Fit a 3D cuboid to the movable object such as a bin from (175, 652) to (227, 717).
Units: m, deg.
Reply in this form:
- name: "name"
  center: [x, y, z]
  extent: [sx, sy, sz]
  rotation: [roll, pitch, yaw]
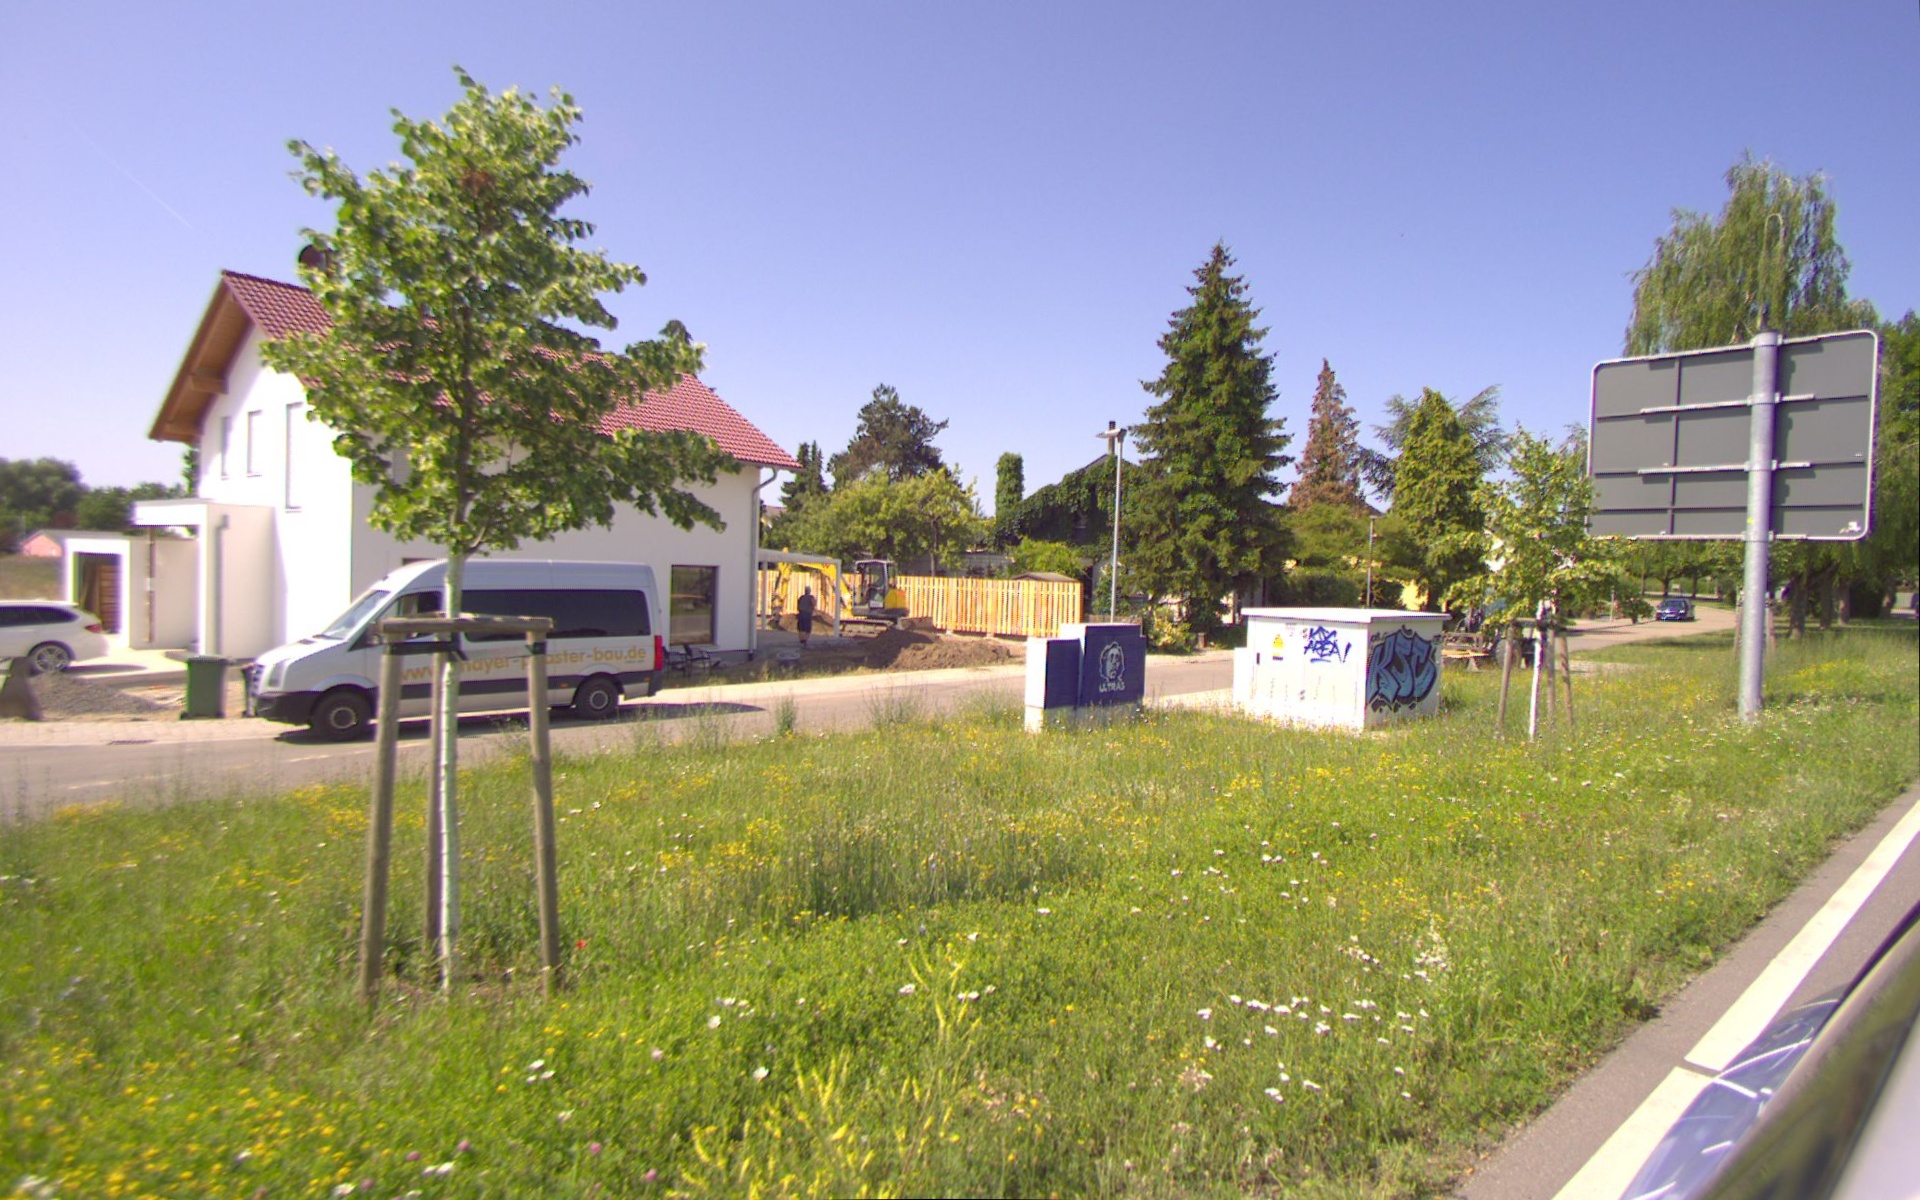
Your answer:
- name: "movable object such as a bin"
  center: [-12.014, 1.323, 16.031]
  extent: [0.626, 0.949, 0.695]
  rotation: [1, 1, -36]

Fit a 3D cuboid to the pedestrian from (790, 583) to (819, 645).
- name: "pedestrian"
  center: [-4.428, 0.389, 28.862]
  extent: [0.701, 1.684, 0.717]
  rotation: [2, 4, -12]

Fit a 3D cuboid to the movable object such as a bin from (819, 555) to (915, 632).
- name: "movable object such as a bin"
  center: [-3.219, -0.246, 35.184]
  extent: [2.839, 2.589, 1.778]
  rotation: [1, 1, 17]

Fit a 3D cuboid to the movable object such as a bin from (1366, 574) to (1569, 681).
- name: "movable object such as a bin"
  center: [13.516, 0.574, 26.679]
  extent: [6.824, 2.493, 2.320]
  rotation: [-1, 1, -41]

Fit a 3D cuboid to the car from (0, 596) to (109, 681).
- name: "car"
  center: [-19.019, 0.740, 18.988]
  extent: [1.553, 1.577, 4.432]
  rotation: [0, 1, 35]

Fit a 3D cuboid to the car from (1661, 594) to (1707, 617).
- name: "car"
  center: [49.816, 0.348, 69.625]
  extent: [4.100, 1.463, 1.860]
  rotation: [-1, 1, -44]

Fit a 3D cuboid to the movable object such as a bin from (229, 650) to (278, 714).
- name: "movable object such as a bin"
  center: [-11.467, 1.316, 16.435]
  extent: [0.626, 0.949, 0.695]
  rotation: [1, 1, -36]

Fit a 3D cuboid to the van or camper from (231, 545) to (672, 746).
- name: "van or camper"
  center: [-7.818, 0.539, 16.039]
  extent: [5.925, 2.633, 2.176]
  rotation: [-1, 2, -41]
